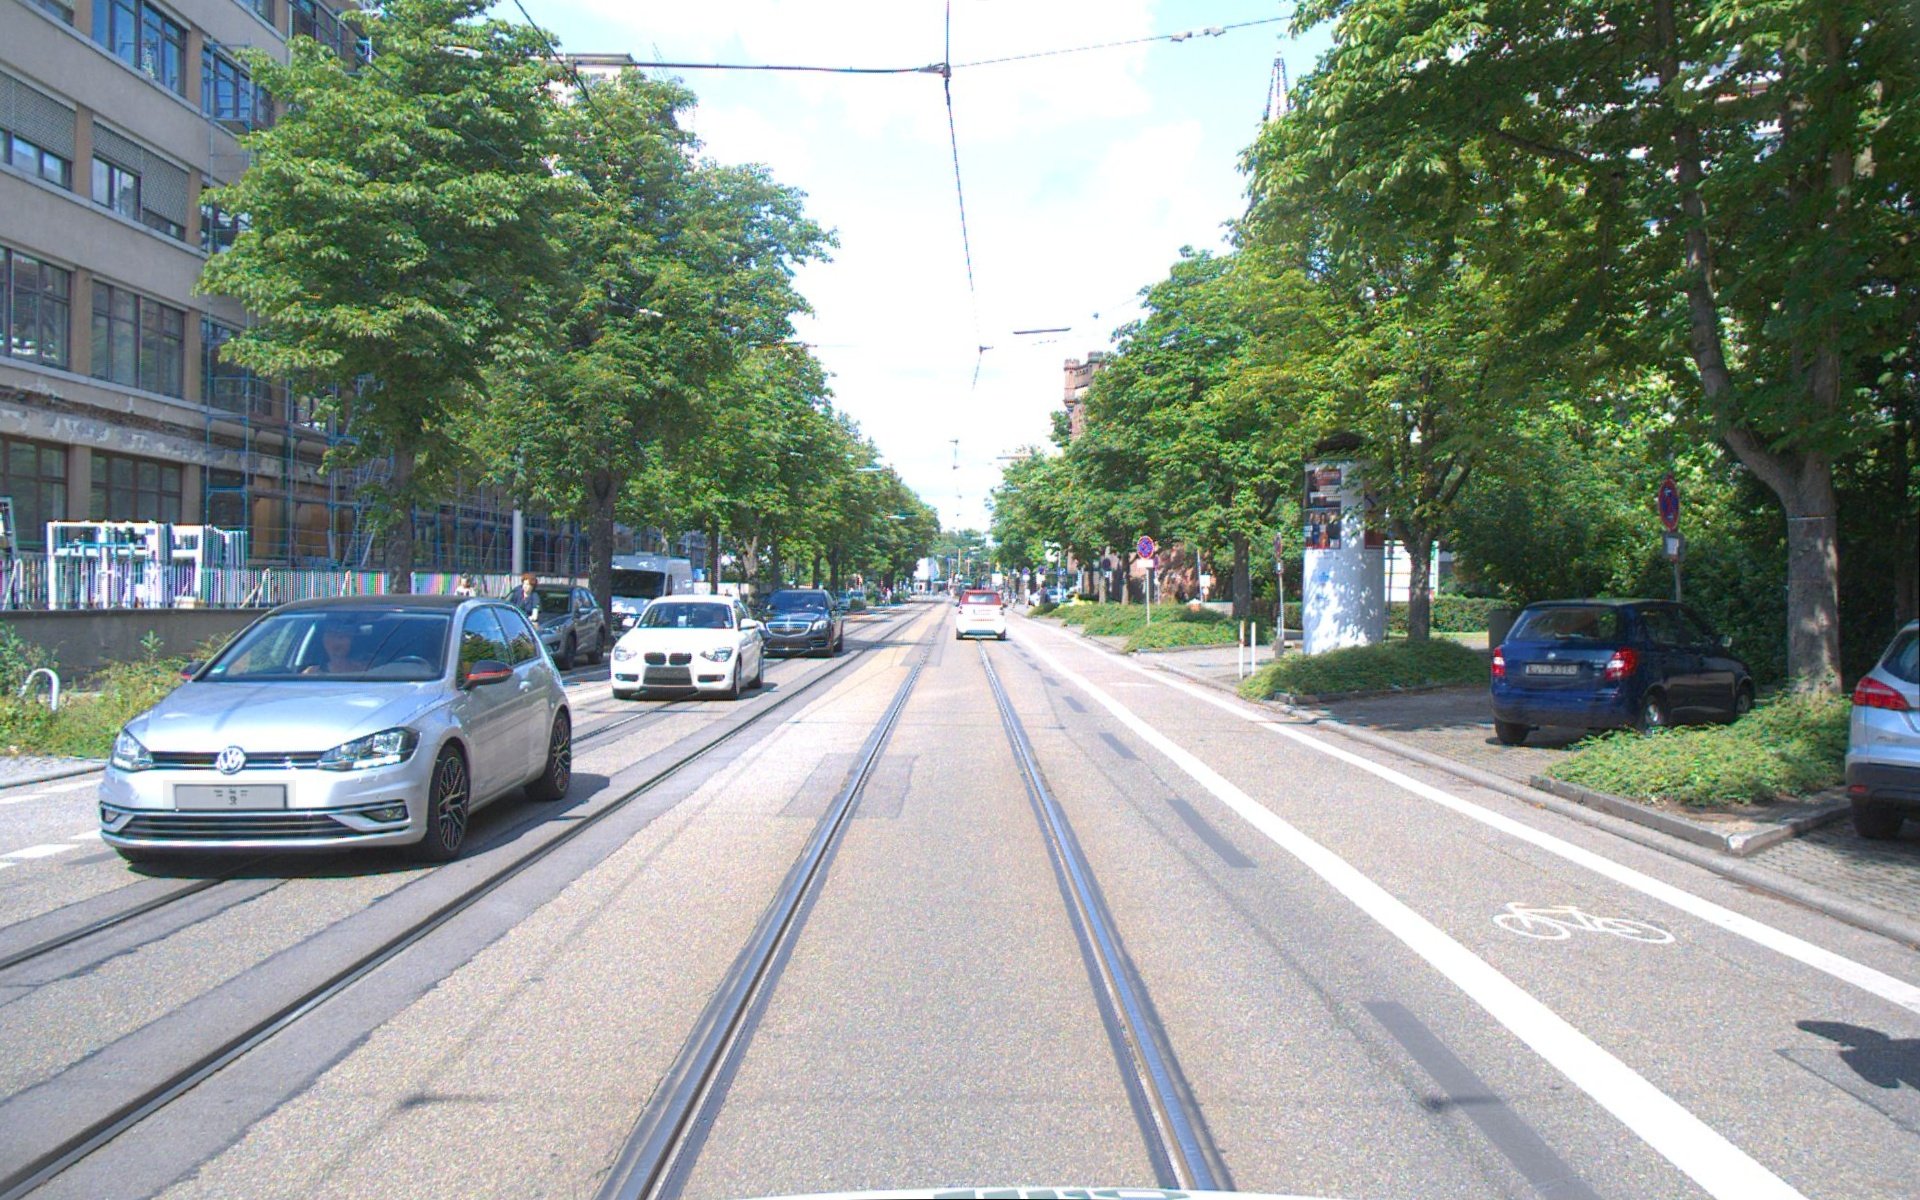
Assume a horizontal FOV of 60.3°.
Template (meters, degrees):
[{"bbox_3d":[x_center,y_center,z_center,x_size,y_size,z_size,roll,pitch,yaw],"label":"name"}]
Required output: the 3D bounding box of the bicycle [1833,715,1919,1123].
[{"bbox_3d":[3.201,0.973,4.313,0.856,1.145,2.137,2,1,6],"label":"bicycle"}]

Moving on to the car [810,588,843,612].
[{"bbox_3d":[-8.661,-0.013,107.429,1.768,1.543,4.102,1,0,0],"label":"car"}]

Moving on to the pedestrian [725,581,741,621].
[{"bbox_3d":[-11.931,0.054,86.991,0.788,2.049,0.484,1,0,-9],"label":"pedestrian"}]

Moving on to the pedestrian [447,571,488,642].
[{"bbox_3d":[-11.750,0.159,39.496,0.749,1.648,0.594,2,0,0],"label":"pedestrian"}]

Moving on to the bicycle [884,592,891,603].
[{"bbox_3d":[-6.594,-0.191,150.693,0.606,0.990,1.716,1,0,-2],"label":"bicycle"}]

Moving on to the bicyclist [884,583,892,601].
[{"bbox_3d":[-6.582,-0.735,150.733,0.645,1.607,0.945,1,0,-2],"label":"bicyclist"}]

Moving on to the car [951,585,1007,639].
[{"bbox_3d":[0.564,0.347,52.578,1.632,1.653,3.619,0,1,-2],"label":"car"}]

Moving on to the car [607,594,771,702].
[{"bbox_3d":[-3.828,0.633,23.973,1.652,1.430,4.226,0,0,0],"label":"car"}]

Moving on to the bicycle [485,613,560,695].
[{"bbox_3d":[-6.717,0.803,25.492,0.631,1.186,1.944,-2,0,-1],"label":"bicycle"}]

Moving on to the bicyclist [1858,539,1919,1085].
[{"bbox_3d":[3.170,0.616,4.514,0.871,1.555,1.086,2,0,6],"label":"bicyclist"}]

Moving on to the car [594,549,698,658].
[{"bbox_3d":[-8.384,0.088,44.535,1.733,2.685,5.321,2,0,0],"label":"car"}]

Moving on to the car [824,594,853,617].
[{"bbox_3d":[-8.775,0.405,119.698,1.768,1.543,4.102,2,0,0],"label":"car"}]

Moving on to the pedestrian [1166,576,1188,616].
[{"bbox_3d":[11.398,-0.206,86.885,0.957,2.049,1.093,2,0,-1],"label":"pedestrian"}]

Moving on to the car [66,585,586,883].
[{"bbox_3d":[-3.566,0.657,10.101,1.737,1.441,3.851,-1,0,-1],"label":"car"}]

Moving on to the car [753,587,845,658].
[{"bbox_3d":[-3.720,0.485,38.837,1.764,1.534,4.535,1,0,-1],"label":"car"}]

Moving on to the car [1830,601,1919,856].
[{"bbox_3d":[7.320,0.811,10.855,3.773,1.500,1.628,1,1,-42],"label":"car"}]

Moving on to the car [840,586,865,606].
[{"bbox_3d":[-8.591,-0.362,132.453,1.768,1.543,4.102,1,0,0],"label":"car"}]

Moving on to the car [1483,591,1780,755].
[{"bbox_3d":[7.211,0.683,17.568,1.589,1.512,3.973,0,0,44],"label":"car"}]

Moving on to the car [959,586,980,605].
[{"bbox_3d":[0.785,-0.357,136.171,1.631,1.518,3.620,1,1,-1],"label":"car"}]

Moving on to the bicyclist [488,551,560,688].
[{"bbox_3d":[-6.698,0.301,25.437,0.859,2.049,0.833,-1,-1,-2],"label":"bicyclist"}]

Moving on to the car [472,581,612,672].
[{"bbox_3d":[-8.471,0.500,33.862,1.768,1.691,4.102,2,0,0],"label":"car"}]
